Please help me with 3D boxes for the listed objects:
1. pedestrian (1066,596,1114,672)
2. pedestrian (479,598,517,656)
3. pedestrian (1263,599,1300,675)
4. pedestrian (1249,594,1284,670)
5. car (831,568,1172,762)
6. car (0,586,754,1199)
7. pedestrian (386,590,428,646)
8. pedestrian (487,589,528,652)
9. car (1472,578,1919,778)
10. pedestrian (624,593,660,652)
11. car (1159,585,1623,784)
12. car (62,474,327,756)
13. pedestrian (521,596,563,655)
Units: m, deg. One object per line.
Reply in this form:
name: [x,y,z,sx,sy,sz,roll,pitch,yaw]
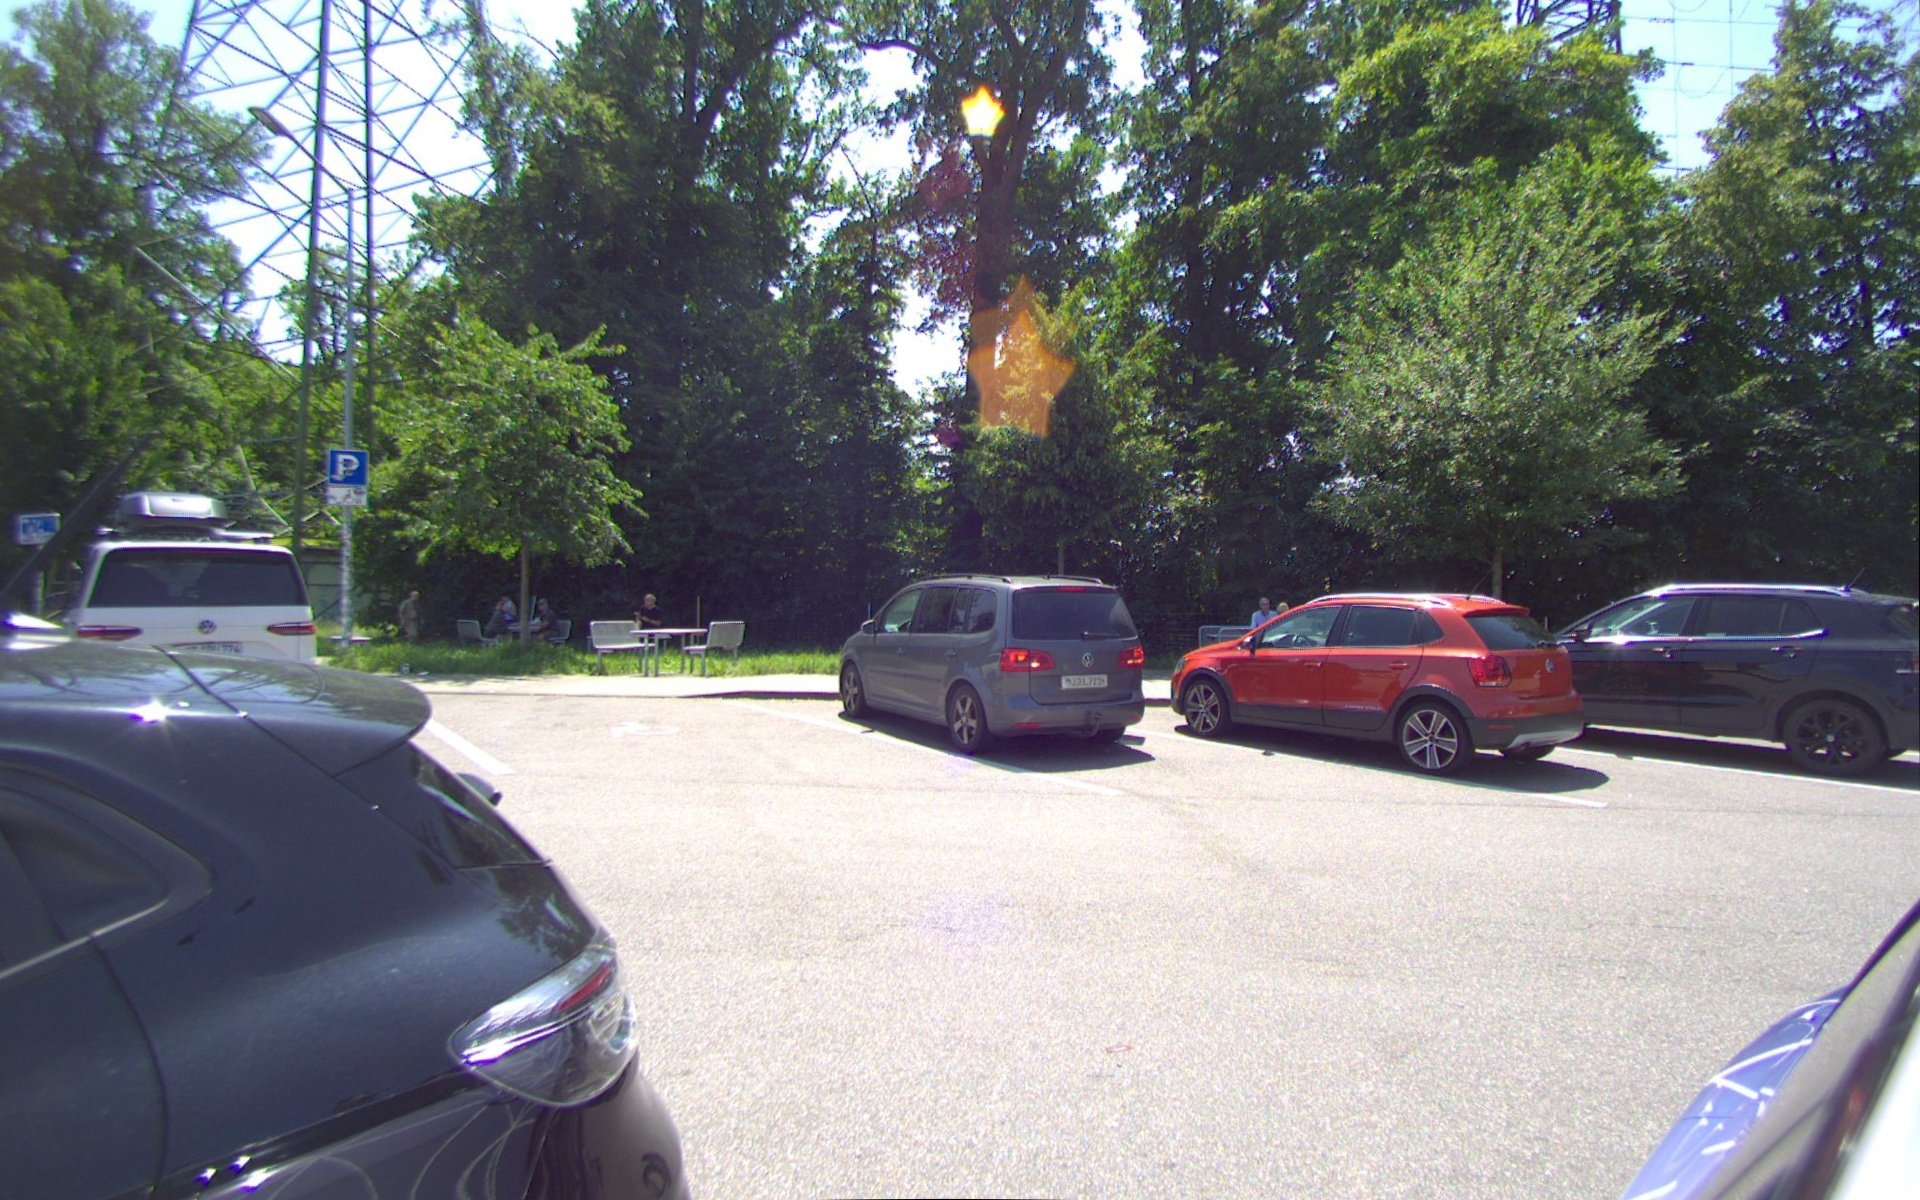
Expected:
pedestrian: [2.153,0.568,16.823,0.660,1.235,0.682,1,-2,-5]
pedestrian: [-10.446,0.596,22.867,0.630,1.287,0.579,1,-1,-39]
pedestrian: [5.676,0.641,17.884,0.495,1.316,0.491,1,-1,0]
pedestrian: [5.757,0.591,19.008,0.495,1.393,0.491,1,-1,0]
car: [0.212,0.502,10.542,1.717,1.611,3.961,0,1,-30]
car: [-2.139,0.720,0.575,1.615,1.503,3.706,0,-1,44]
pedestrian: [-14.040,0.445,25.706,0.602,1.391,0.701,0,-1,29]
pedestrian: [-10.959,0.488,24.501,0.722,1.478,0.669,1,-1,-39]
car: [7.227,0.579,9.663,1.727,1.566,3.806,0,1,-39]
pedestrian: [-6.670,0.463,21.239,0.550,1.229,0.599,1,-1,-1]
car: [3.849,0.607,9.640,1.604,1.476,3.810,0,1,-34]
car: [-8.077,0.089,10.614,1.885,2.353,4.089,0,1,-40]
pedestrian: [-9.727,0.580,23.565,0.722,1.343,0.669,1,-1,-39]
